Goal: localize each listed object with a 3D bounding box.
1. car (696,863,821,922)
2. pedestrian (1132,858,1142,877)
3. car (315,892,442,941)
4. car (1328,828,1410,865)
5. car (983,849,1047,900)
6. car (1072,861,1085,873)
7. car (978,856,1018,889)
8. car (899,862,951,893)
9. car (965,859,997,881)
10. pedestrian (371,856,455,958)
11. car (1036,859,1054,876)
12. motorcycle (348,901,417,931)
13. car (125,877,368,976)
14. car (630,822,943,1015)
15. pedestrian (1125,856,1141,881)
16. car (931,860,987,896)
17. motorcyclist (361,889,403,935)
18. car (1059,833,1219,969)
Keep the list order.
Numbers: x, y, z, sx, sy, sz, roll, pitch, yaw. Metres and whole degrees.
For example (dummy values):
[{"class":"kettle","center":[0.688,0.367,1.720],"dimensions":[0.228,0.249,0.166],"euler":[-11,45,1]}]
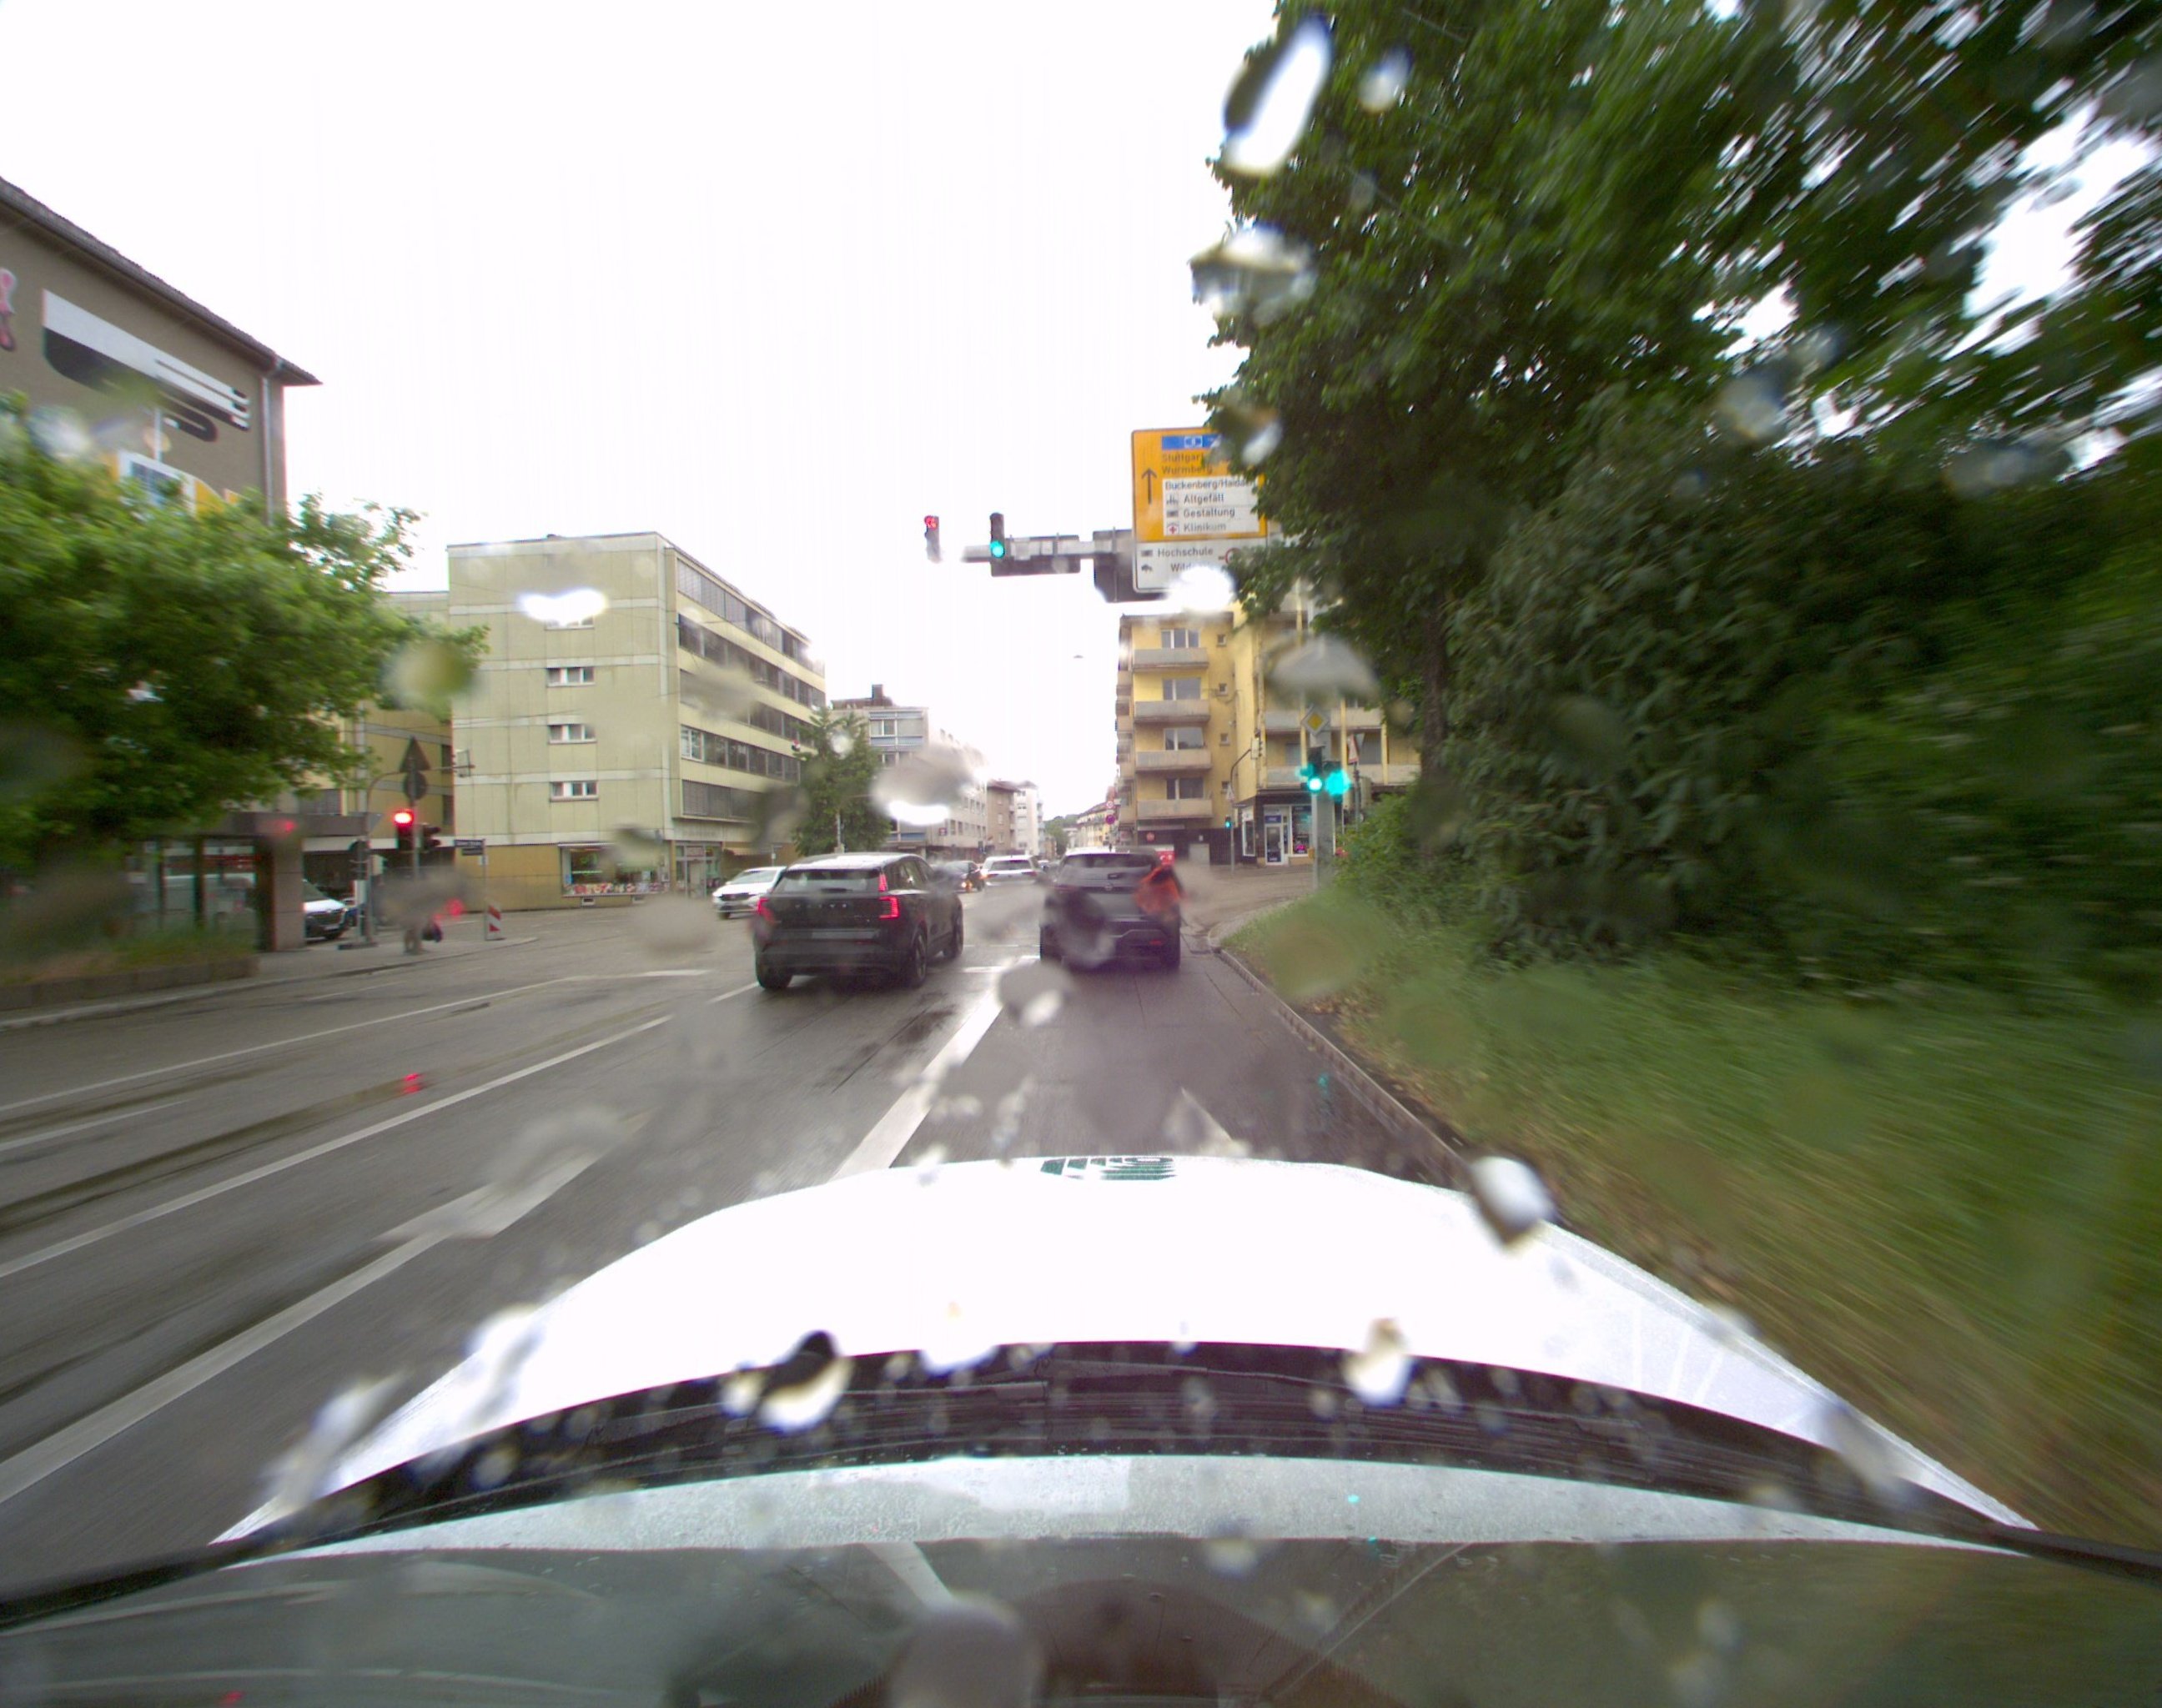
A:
[{"class":"car","center":[-10.106,1.156,25.922],"dimensions":[1.985,1.494,4.092],"euler":[-5,0,4]},{"class":"pedestrian","center":[3.783,0.932,55.012],"dimensions":[0.461,1.233,0.554],"euler":[-8,-1,1]},{"class":"car","center":[-34.495,3.046,40.063],"dimensions":[4.416,1.919,2.035],"euler":[-5,0,3]},{"class":"car","center":[14.217,-0.391,40.322],"dimensions":[3.460,1.557,1.472],"euler":[-4,1,0]},{"class":"car","center":[-2.046,0.602,26.247],"dimensions":[1.762,1.444,3.998],"euler":[-2,0,-1]},{"class":"car","center":[-0.434,2.458,149.327],"dimensions":[1.985,2.013,4.003],"euler":[-4,0,3]},{"class":"car","center":[-4.949,1.070,48.922],"dimensions":[1.773,1.816,4.406],"euler":[-3,0,1]},{"class":"car","center":[-8.616,1.255,45.219],"dimensions":[1.771,1.478,3.798],"euler":[-5,0,4]},{"class":"car","center":[-7.271,1.129,59.681],"dimensions":[1.800,1.409,4.389],"euler":[-4,0,-1]},{"class":"pedestrian","center":[-13.998,1.086,17.099],"dimensions":[0.939,2.013,0.884],"euler":[-3,-1,-8]},{"class":"car","center":[-4.732,1.734,107.809],"dimensions":[1.903,2.013,4.002],"euler":[-4,0,2]},{"class":"motorcycle","center":[-26.170,2.313,30.530],"dimensions":[1.854,0.935,0.615],"euler":[-3,0,-15]},{"class":"car","center":[-28.053,2.385,27.529],"dimensions":[5.740,2.712,2.185],"euler":[-5,0,0]},{"class":"car","center":[-2.557,0.481,8.136],"dimensions":[1.607,1.420,3.967],"euler":[-1,0,1]},{"class":"pedestrian","center":[3.508,0.945,54.735],"dimensions":[0.832,1.558,0.833],"euler":[-8,-1,0]},{"class":"car","center":[-5.756,1.091,38.783],"dimensions":[1.779,1.491,3.818],"euler":[-4,0,4]},{"class":"motorcyclist","center":[-26.194,2.156,30.520],"dimensions":[0.920,1.663,0.704],"euler":[-3,-2,-15]},{"class":"car","center":[0.723,0.566,11.900],"dimensions":[1.953,1.653,4.000],"euler":[0,0,0]}]
